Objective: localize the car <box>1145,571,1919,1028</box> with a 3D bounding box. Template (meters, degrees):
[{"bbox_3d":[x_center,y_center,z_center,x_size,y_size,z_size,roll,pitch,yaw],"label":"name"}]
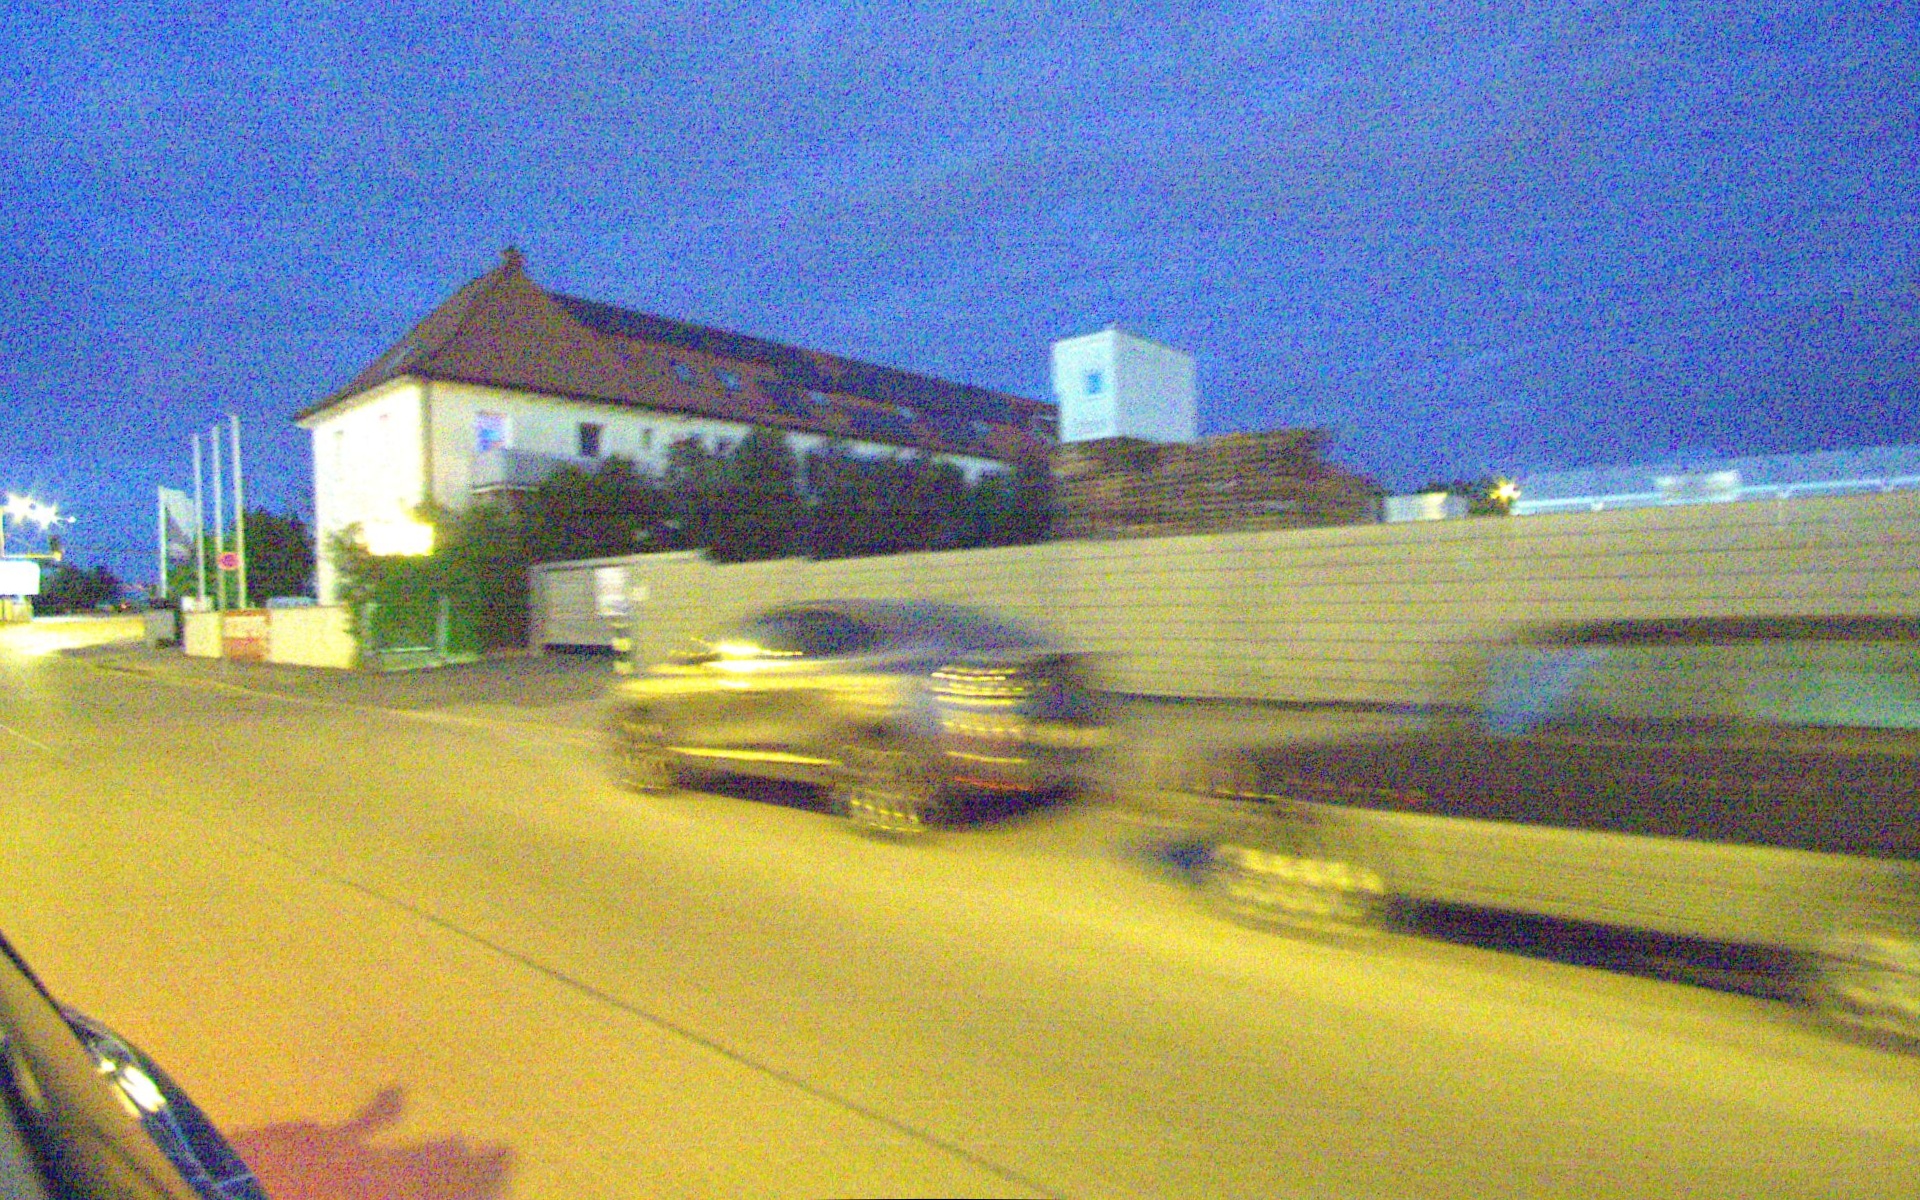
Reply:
[{"bbox_3d":[2.904,0.595,4.023,3.997,1.364,1.585,-2,0,40],"label":"car"}]

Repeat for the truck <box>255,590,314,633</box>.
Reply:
[{"bbox_3d":[-32.398,0.533,48.470,1.968,1.914,5.328,-2,1,-38],"label":"truck"}]

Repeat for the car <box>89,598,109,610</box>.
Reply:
[{"bbox_3d":[-118.092,0.597,138.807,1.910,1.563,4.008,-2,1,-38],"label":"car"}]

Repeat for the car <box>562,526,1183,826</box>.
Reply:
[{"bbox_3d":[-0.909,0.422,7.847,4.769,1.648,1.974,-1,1,40],"label":"car"}]

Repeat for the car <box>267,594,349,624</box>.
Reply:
[{"bbox_3d":[-41.330,0.565,64.192,4.076,1.785,2.003,-2,1,-42],"label":"car"}]
